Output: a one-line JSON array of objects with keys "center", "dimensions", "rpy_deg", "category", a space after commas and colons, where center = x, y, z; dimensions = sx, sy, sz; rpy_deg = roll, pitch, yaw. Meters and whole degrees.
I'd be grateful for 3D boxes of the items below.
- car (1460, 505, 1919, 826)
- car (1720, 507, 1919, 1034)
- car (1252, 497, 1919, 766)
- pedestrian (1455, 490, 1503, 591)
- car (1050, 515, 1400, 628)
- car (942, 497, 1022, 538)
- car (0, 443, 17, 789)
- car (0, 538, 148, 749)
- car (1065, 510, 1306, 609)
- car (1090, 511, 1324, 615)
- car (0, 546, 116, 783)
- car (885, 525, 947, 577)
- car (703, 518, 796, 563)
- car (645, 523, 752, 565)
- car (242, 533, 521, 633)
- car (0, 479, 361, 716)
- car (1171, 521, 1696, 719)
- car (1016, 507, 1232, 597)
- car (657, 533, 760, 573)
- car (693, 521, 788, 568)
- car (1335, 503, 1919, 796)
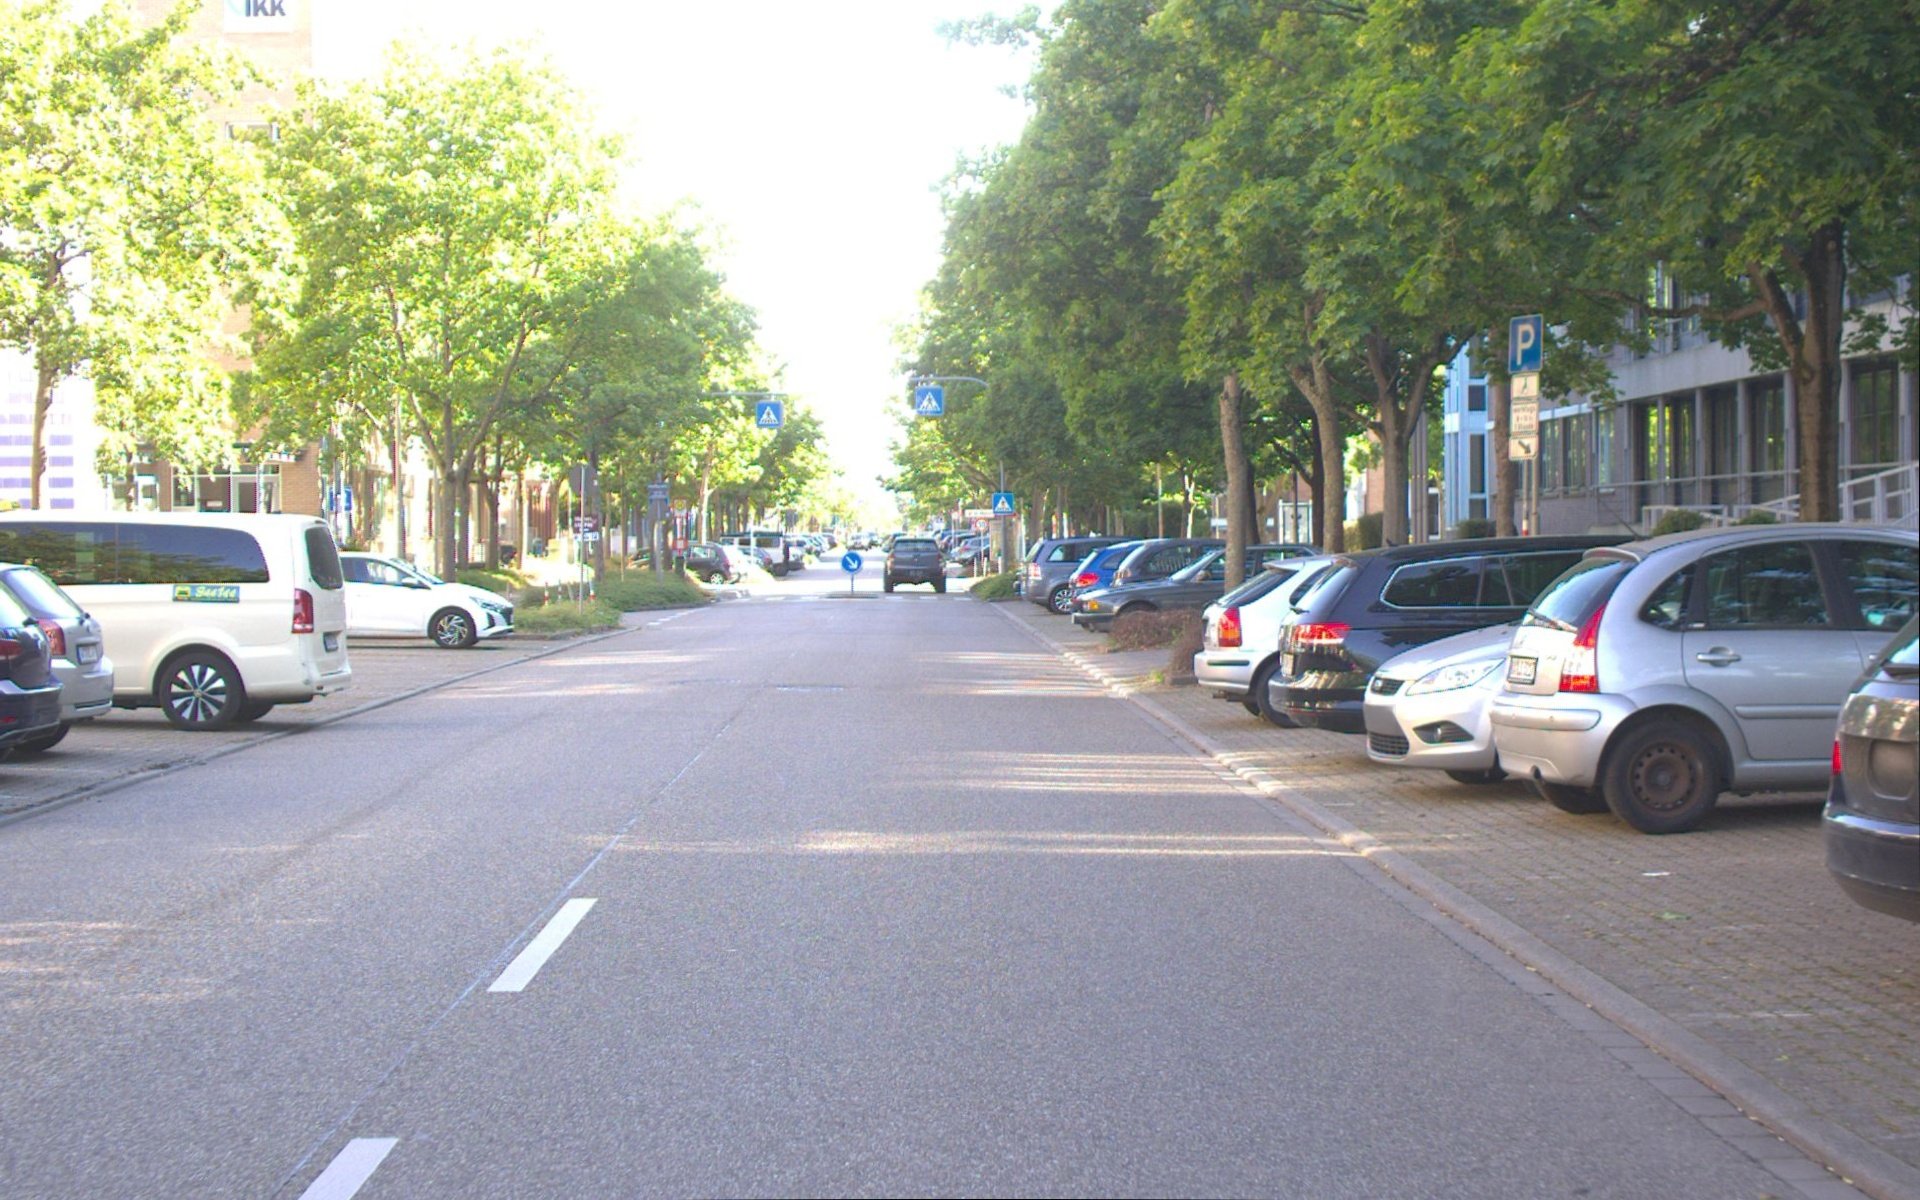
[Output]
[{"center": [4.632, 0.272, 17.769], "dimensions": [3.742, 1.488, 1.617], "rpy_deg": [-2, 1, -4], "category": "car"}, {"center": [4.888, 0.402, 10.953], "dimensions": [4.515, 1.537, 1.922], "rpy_deg": [-2, 1, 4], "category": "car"}, {"center": [4.362, 0.178, 22.966], "dimensions": [4.591, 1.488, 1.763], "rpy_deg": [-3, 1, -1], "category": "car"}, {"center": [9.111, -1.045, 60.379], "dimensions": [0.607, 1.739, 1.191], "rpy_deg": [-1, 1, -1], "category": "pedestrian"}, {"center": [3.817, -0.422, 50.131], "dimensions": [4.824, 1.415, 2.032], "rpy_deg": [-2, 1, -2], "category": "car"}, {"center": [1.132, -4.205, 176.147], "dimensions": [3.986, 2.007, 2.000], "rpy_deg": [-1, 1, -2], "category": "car"}, {"center": [-8.042, 0.076, 20.024], "dimensions": [4.488, 2.082, 2.083], "rpy_deg": [1, 1, 2], "category": "car"}, {"center": [-8.416, 0.263, 25.435], "dimensions": [4.321, 1.472, 1.943], "rpy_deg": [1, 1, 2], "category": "car"}, {"center": [3.813, -0.698, 58.602], "dimensions": [3.949, 1.509, 1.813], "rpy_deg": [-2, 1, 1], "category": "car"}, {"center": [3.997, -0.610, 56.033], "dimensions": [3.641, 1.509, 1.813], "rpy_deg": [-2, 1, 1], "category": "car"}, {"center": [-7.992, 0.361, 22.714], "dimensions": [4.321, 1.472, 1.943], "rpy_deg": [1, 1, 2], "category": "car"}, {"center": [-1.452, -1.622, 113.045], "dimensions": [1.993, 1.634, 4.000], "rpy_deg": [1, 1, -1], "category": "car"}, {"center": [-9.632, -2.736, 157.695], "dimensions": [3.987, 2.007, 2.000], "rpy_deg": [-1, 1, 3], "category": "car"}, {"center": [-9.703, -2.077, 127.278], "dimensions": [3.848, 1.468, 1.813], "rpy_deg": [1, 1, -6], "category": "car"}, {"center": [-8.785, -0.275, 52.472], "dimensions": [3.986, 1.481, 1.807], "rpy_deg": [0, 1, -2], "category": "car"}, {"center": [-8.028, -0.065, 29.987], "dimensions": [5.257, 1.960, 1.943], "rpy_deg": [1, 1, -1], "category": "car"}, {"center": [3.824, 0.142, 28.181], "dimensions": [3.969, 1.415, 1.711], "rpy_deg": [-2, 1, -2], "category": "car"}, {"center": [3.448, -1.027, 72.773], "dimensions": [4.350, 1.698, 1.813], "rpy_deg": [-2, 1, -3], "category": "car"}, {"center": [-9.711, -1.801, 132.578], "dimensions": [3.847, 1.468, 1.813], "rpy_deg": [1, 1, -7], "category": "car"}, {"center": [-9.859, -2.504, 154.496], "dimensions": [3.987, 2.007, 2.000], "rpy_deg": [-1, 1, 3], "category": "car"}, {"center": [4.496, 0.227, 19.993], "dimensions": [4.285, 1.488, 2.004], "rpy_deg": [-2, 1, -3], "category": "car"}]
